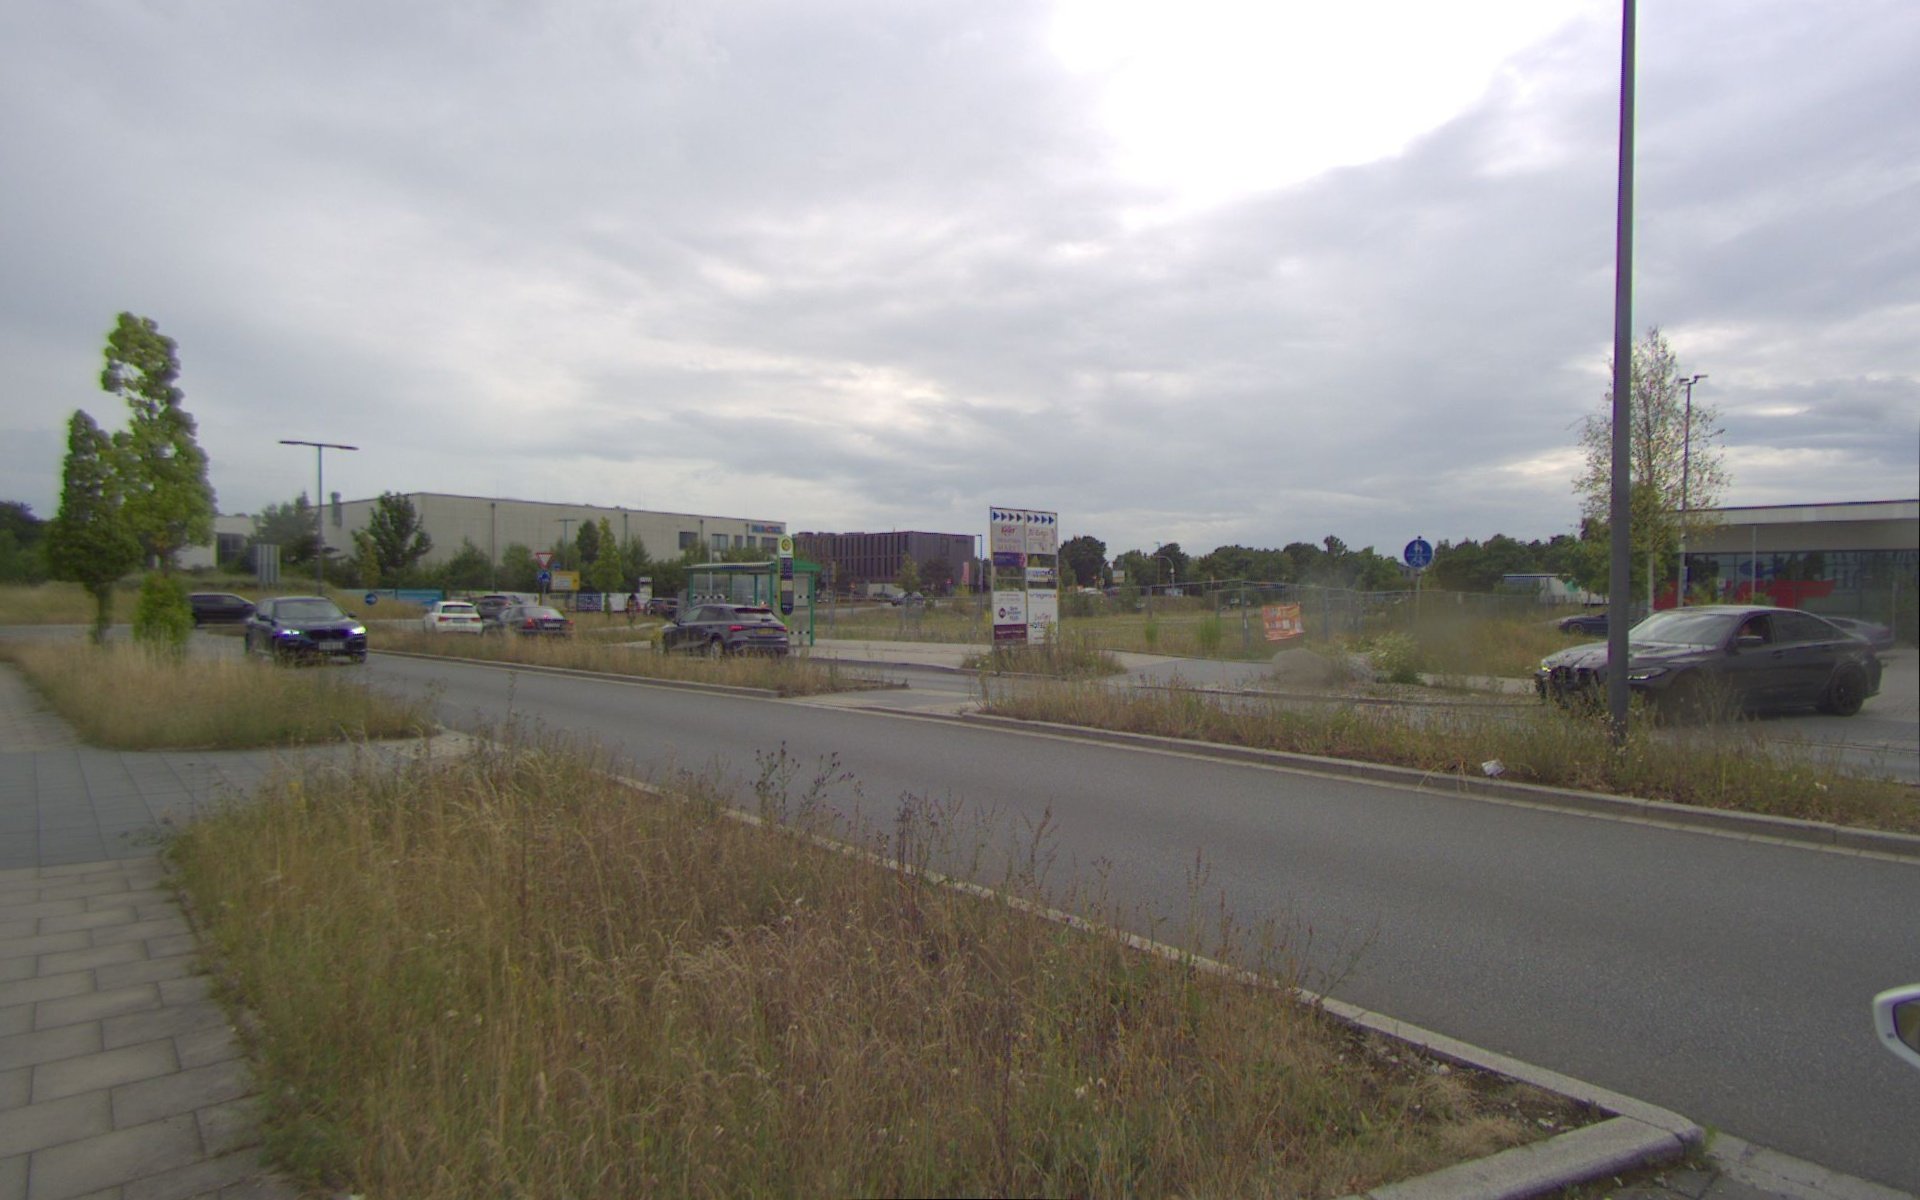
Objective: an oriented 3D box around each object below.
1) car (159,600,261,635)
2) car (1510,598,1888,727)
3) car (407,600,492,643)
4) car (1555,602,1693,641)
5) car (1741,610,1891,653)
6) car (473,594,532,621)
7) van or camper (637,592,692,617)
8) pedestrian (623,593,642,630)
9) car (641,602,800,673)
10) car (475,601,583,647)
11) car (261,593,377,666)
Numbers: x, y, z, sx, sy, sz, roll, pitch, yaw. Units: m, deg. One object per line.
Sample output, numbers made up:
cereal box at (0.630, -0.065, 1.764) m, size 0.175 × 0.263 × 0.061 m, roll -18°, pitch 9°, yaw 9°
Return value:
car at (-30.730, 0.685, 41.172) m, size 3.267 × 1.372 × 1.542 m, roll 0°, pitch 0°, yaw -41°
car at (9.858, 0.735, 13.441) m, size 4.536 × 1.465 × 1.778 m, roll -1°, pitch 1°, yaw -18°
car at (-20.121, 0.809, 39.513) m, size 3.999 × 1.500 × 1.748 m, roll 2°, pitch 1°, yaw 44°
car at (29.956, 0.917, 45.436) m, size 4.953 × 1.578 × 1.989 m, roll 1°, pitch 0°, yaw 43°
car at (30.734, 1.096, 36.123) m, size 3.946 × 1.370 × 1.987 m, roll 2°, pitch 0°, yaw 45°
car at (-25.072, 0.399, 55.159) m, size 1.686 × 1.361 × 4.061 m, roll 1°, pitch 1°, yaw -5°
van or camper at (-22.271, 0.334, 75.867) m, size 1.959 × 1.772 × 4.574 m, roll 1°, pitch 0°, yaw 13°
pedestrian at (-15.693, 0.555, 48.155) m, size 0.730 × 1.745 × 0.649 m, roll 1°, pitch 1°, yaw -10°
car at (-5.881, 0.836, 24.402) m, size 4.261 × 1.486 × 1.787 m, roll 1°, pitch 1°, yaw 44°
car at (-14.392, 0.765, 33.444) m, size 4.310 × 1.414 × 1.780 m, roll 1°, pitch -1°, yaw 44°
car at (-16.194, 0.677, 25.296) m, size 1.880 × 1.662 × 3.951 m, roll 0°, pitch 0°, yaw -41°
